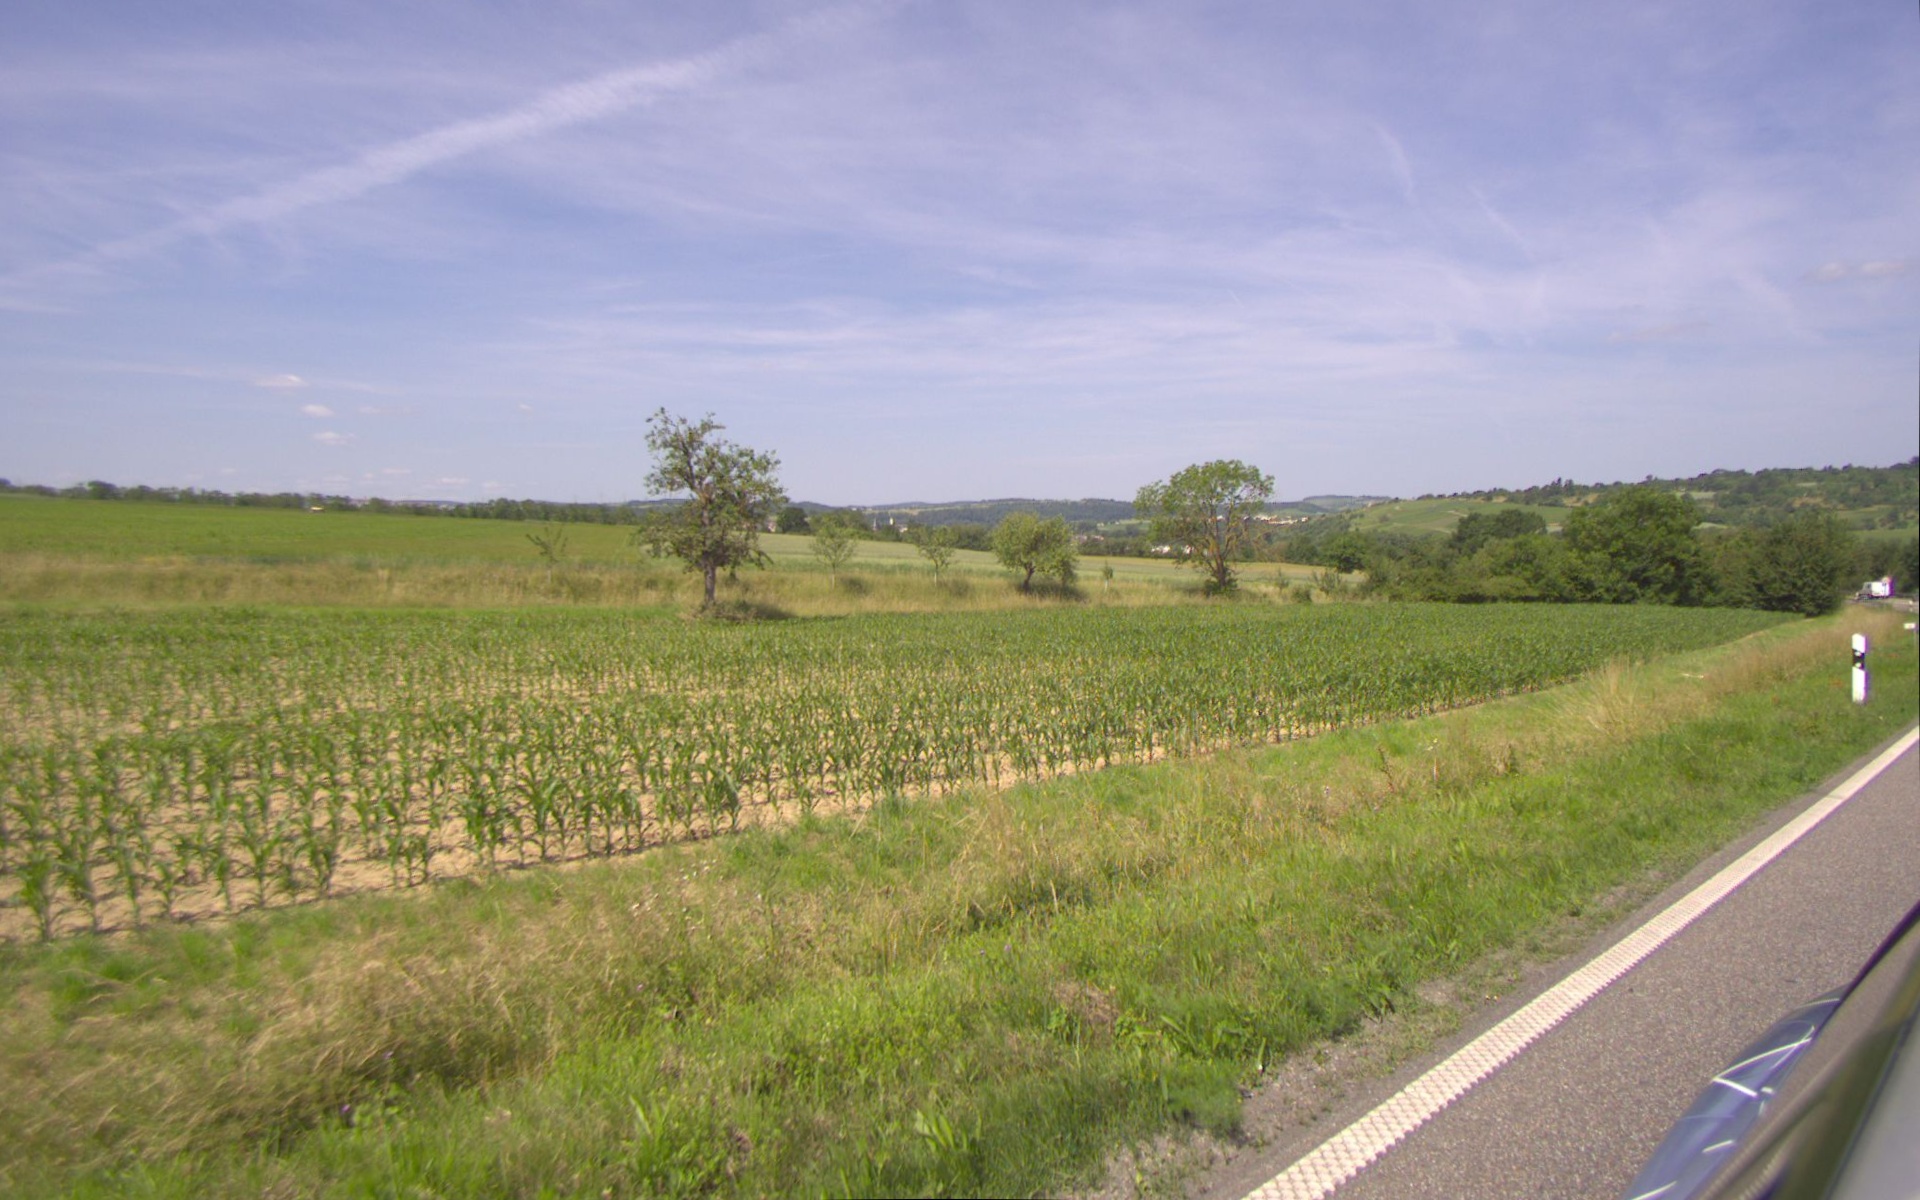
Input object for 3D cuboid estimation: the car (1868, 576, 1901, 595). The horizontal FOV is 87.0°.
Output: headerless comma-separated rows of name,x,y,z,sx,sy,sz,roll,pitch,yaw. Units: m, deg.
car,126.381,-1.984,138.398,2.077,2.425,5.784,1,0,29
